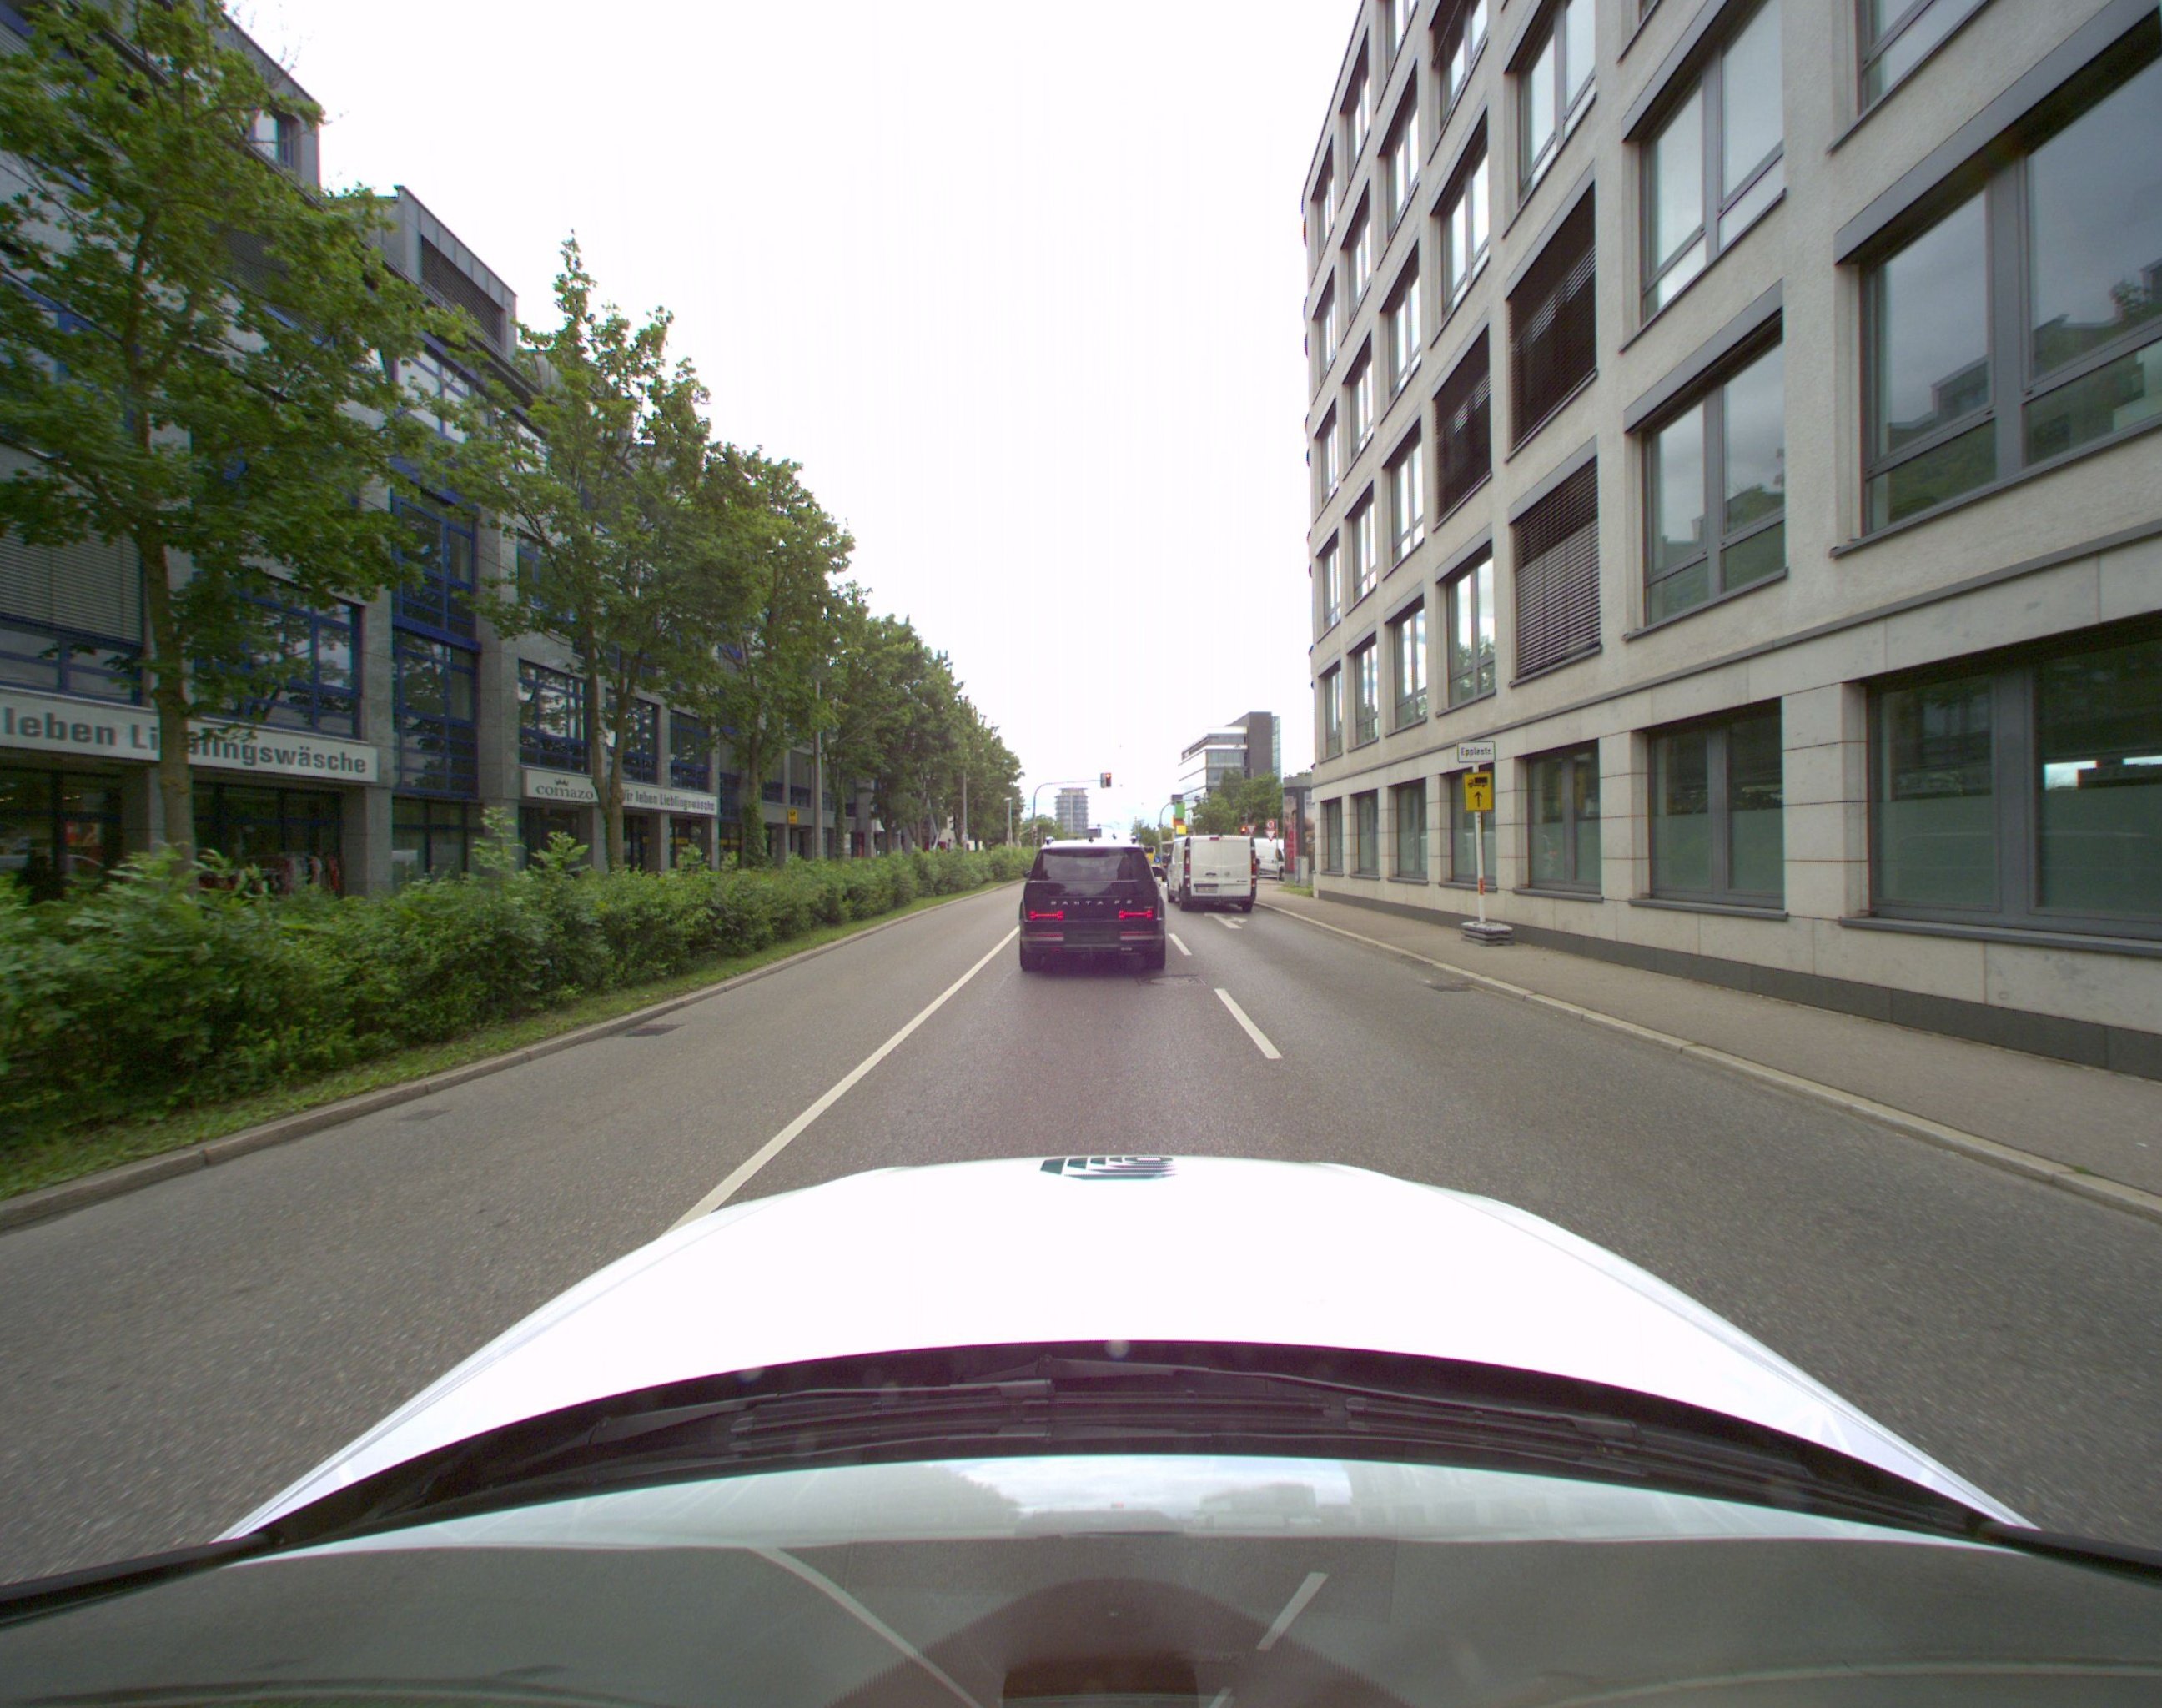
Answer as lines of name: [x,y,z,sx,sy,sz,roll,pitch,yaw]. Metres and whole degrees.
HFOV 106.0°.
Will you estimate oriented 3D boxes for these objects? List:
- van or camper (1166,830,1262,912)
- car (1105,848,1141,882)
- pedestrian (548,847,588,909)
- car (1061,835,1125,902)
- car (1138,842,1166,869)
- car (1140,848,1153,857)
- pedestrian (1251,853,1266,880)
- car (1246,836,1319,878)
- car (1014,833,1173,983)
van or camper: [3.504,0.420,22.310,1.986,2.013,4.654,0,0,2]
car: [2.231,0.569,42.843,1.768,1.717,4.342,0,-1,3]
pedestrian: [-15.901,0.732,25.266,0.771,1.894,0.731,0,-1,1]
car: [0.415,0.433,26.655,1.908,2.003,3.881,-1,0,1]
car: [5.455,0.162,63.040,1.985,2.014,4.003,0,-1,3]
car: [12.371,-0.338,154.516,1.988,1.684,3.998,0,-1,-1]
pedestrian: [10.708,0.732,49.135,0.744,1.584,0.567,1,0,-38]
car: [12.839,0.203,52.430,2.299,2.573,5.815,0,-1,-11]
car: [0.203,0.645,11.648,1.862,1.760,3.881,-1,0,2]
